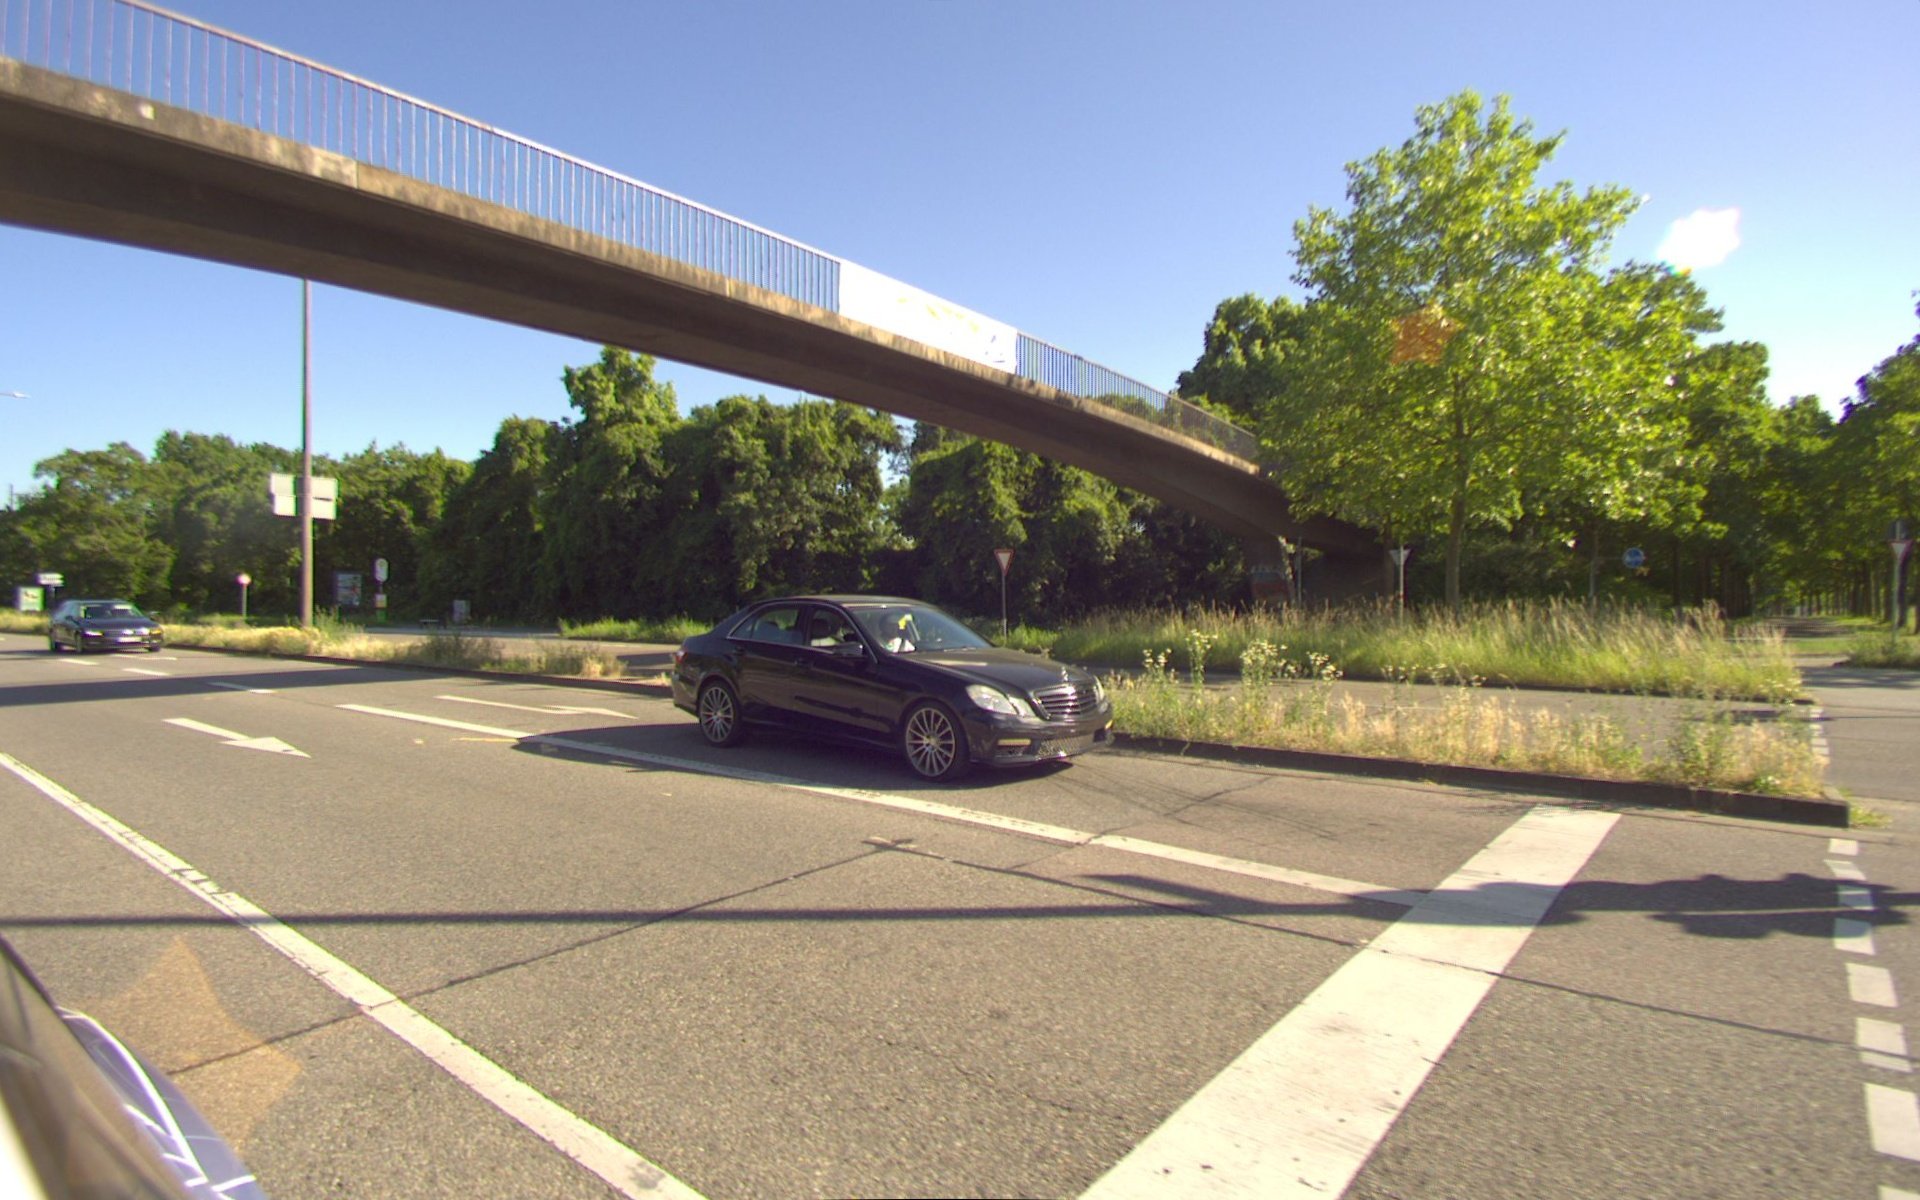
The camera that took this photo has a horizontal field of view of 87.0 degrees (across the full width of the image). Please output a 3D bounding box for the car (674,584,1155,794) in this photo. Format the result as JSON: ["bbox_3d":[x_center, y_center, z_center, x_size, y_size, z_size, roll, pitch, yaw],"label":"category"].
[{"bbox_3d":[-0.619,0.668,9.390,4.527,1.498,1.755,-1,-1,42],"label":"car"}]

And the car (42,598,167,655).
[{"bbox_3d":[-24.201,0.716,28.607,3.993,1.507,1.775,-1,0,36],"label":"car"}]
